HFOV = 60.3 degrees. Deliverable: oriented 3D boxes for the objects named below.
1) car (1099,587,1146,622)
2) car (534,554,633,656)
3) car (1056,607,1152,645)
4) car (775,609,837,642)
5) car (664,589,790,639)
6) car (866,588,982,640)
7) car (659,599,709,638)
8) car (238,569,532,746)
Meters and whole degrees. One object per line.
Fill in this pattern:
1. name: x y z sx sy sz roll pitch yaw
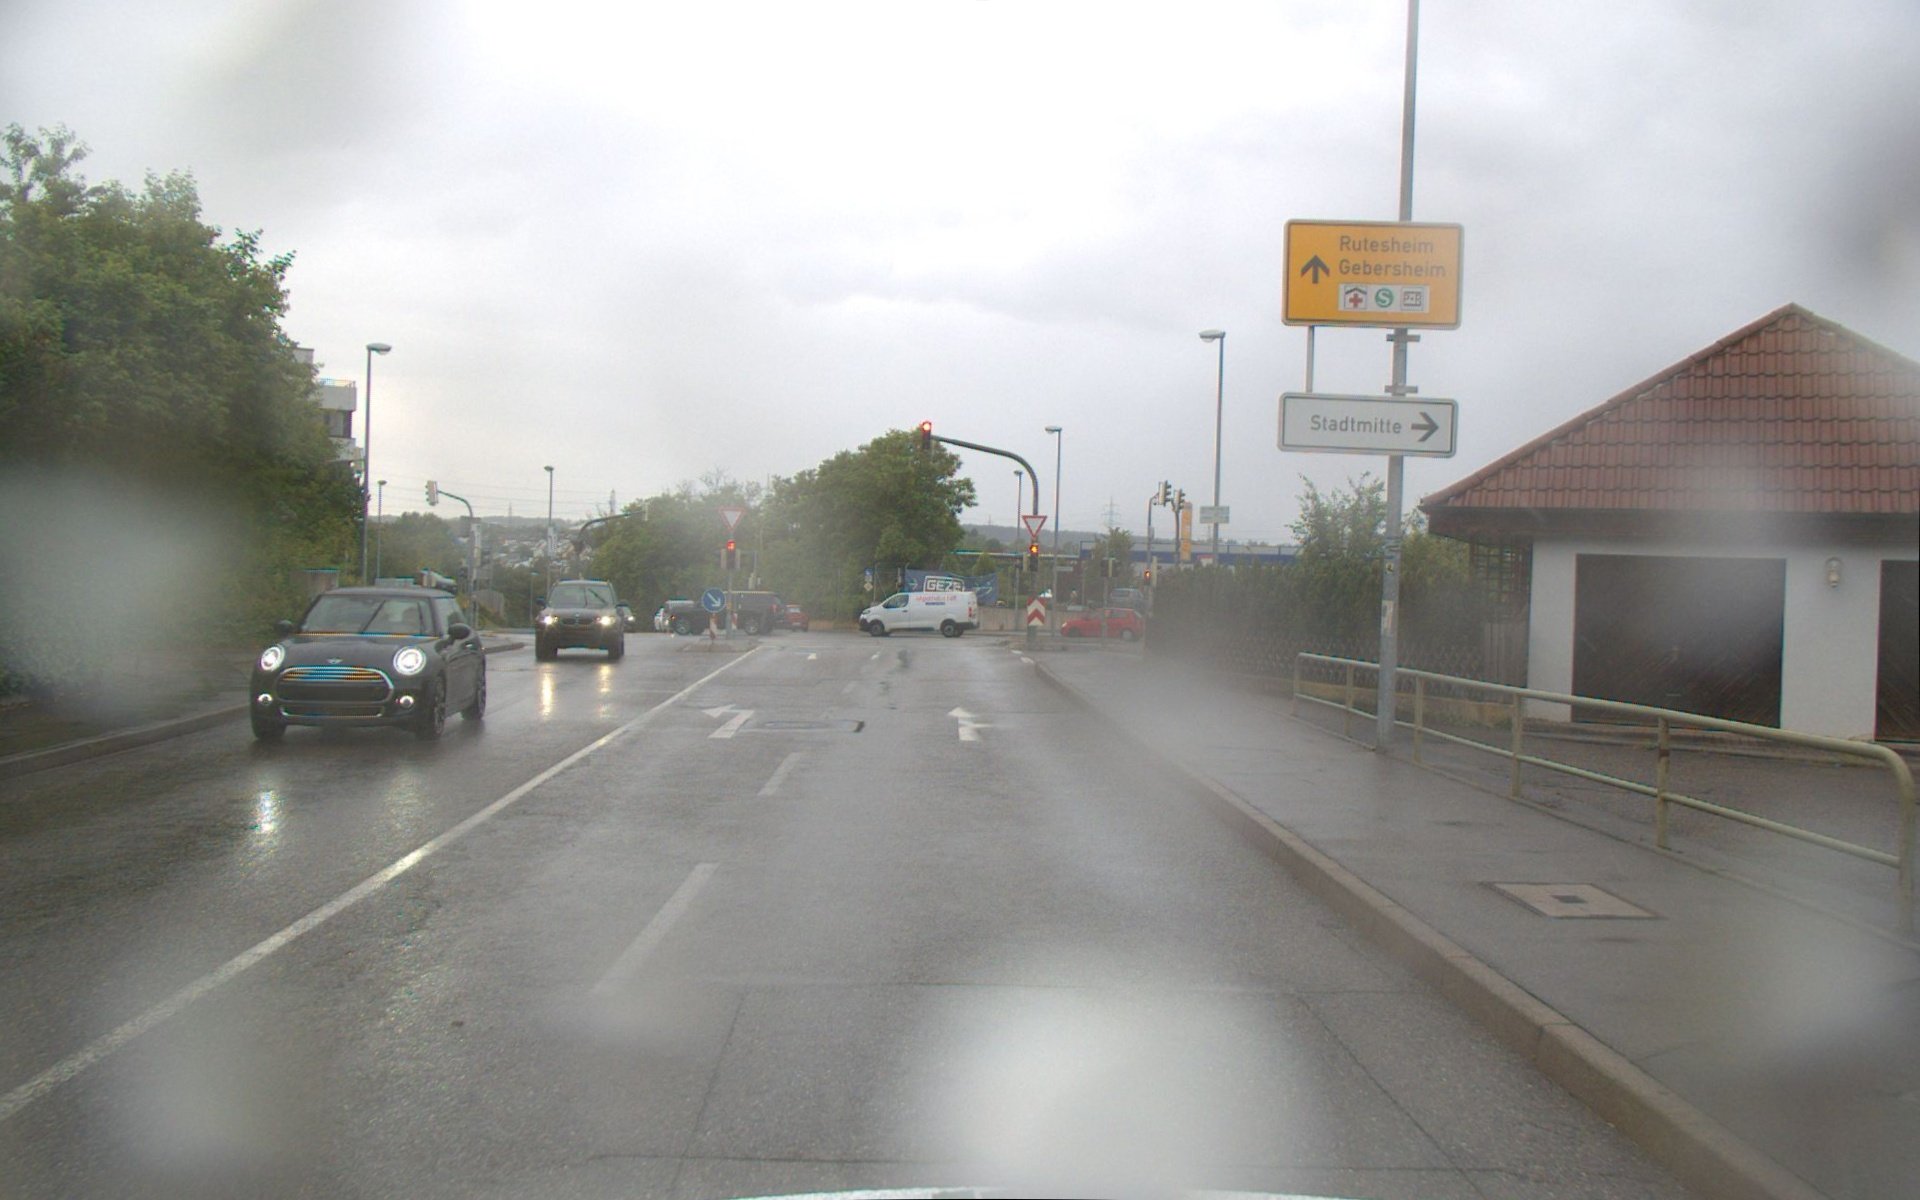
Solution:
1. car: 10.116 0.288 102.456 1.952 2.049 4.001 2 1 19
2. car: -8.124 0.074 35.933 1.739 2.049 3.992 2 1 -9
3. car: 6.479 1.167 74.420 3.904 1.512 2.001 2 1 19
4. car: -8.750 1.436 93.798 2.265 1.720 4.727 -3 1 -21
5. car: -10.783 0.648 76.673 5.350 2.048 2.002 -2 0 7
6. car: -1.544 0.602 71.701 4.754 2.049 1.779 2 1 8
7. car: -15.454 1.000 92.368 1.965 2.049 3.974 -1 1 -21
8. car: -5.703 0.494 16.933 1.769 1.550 3.998 2 1 -3
